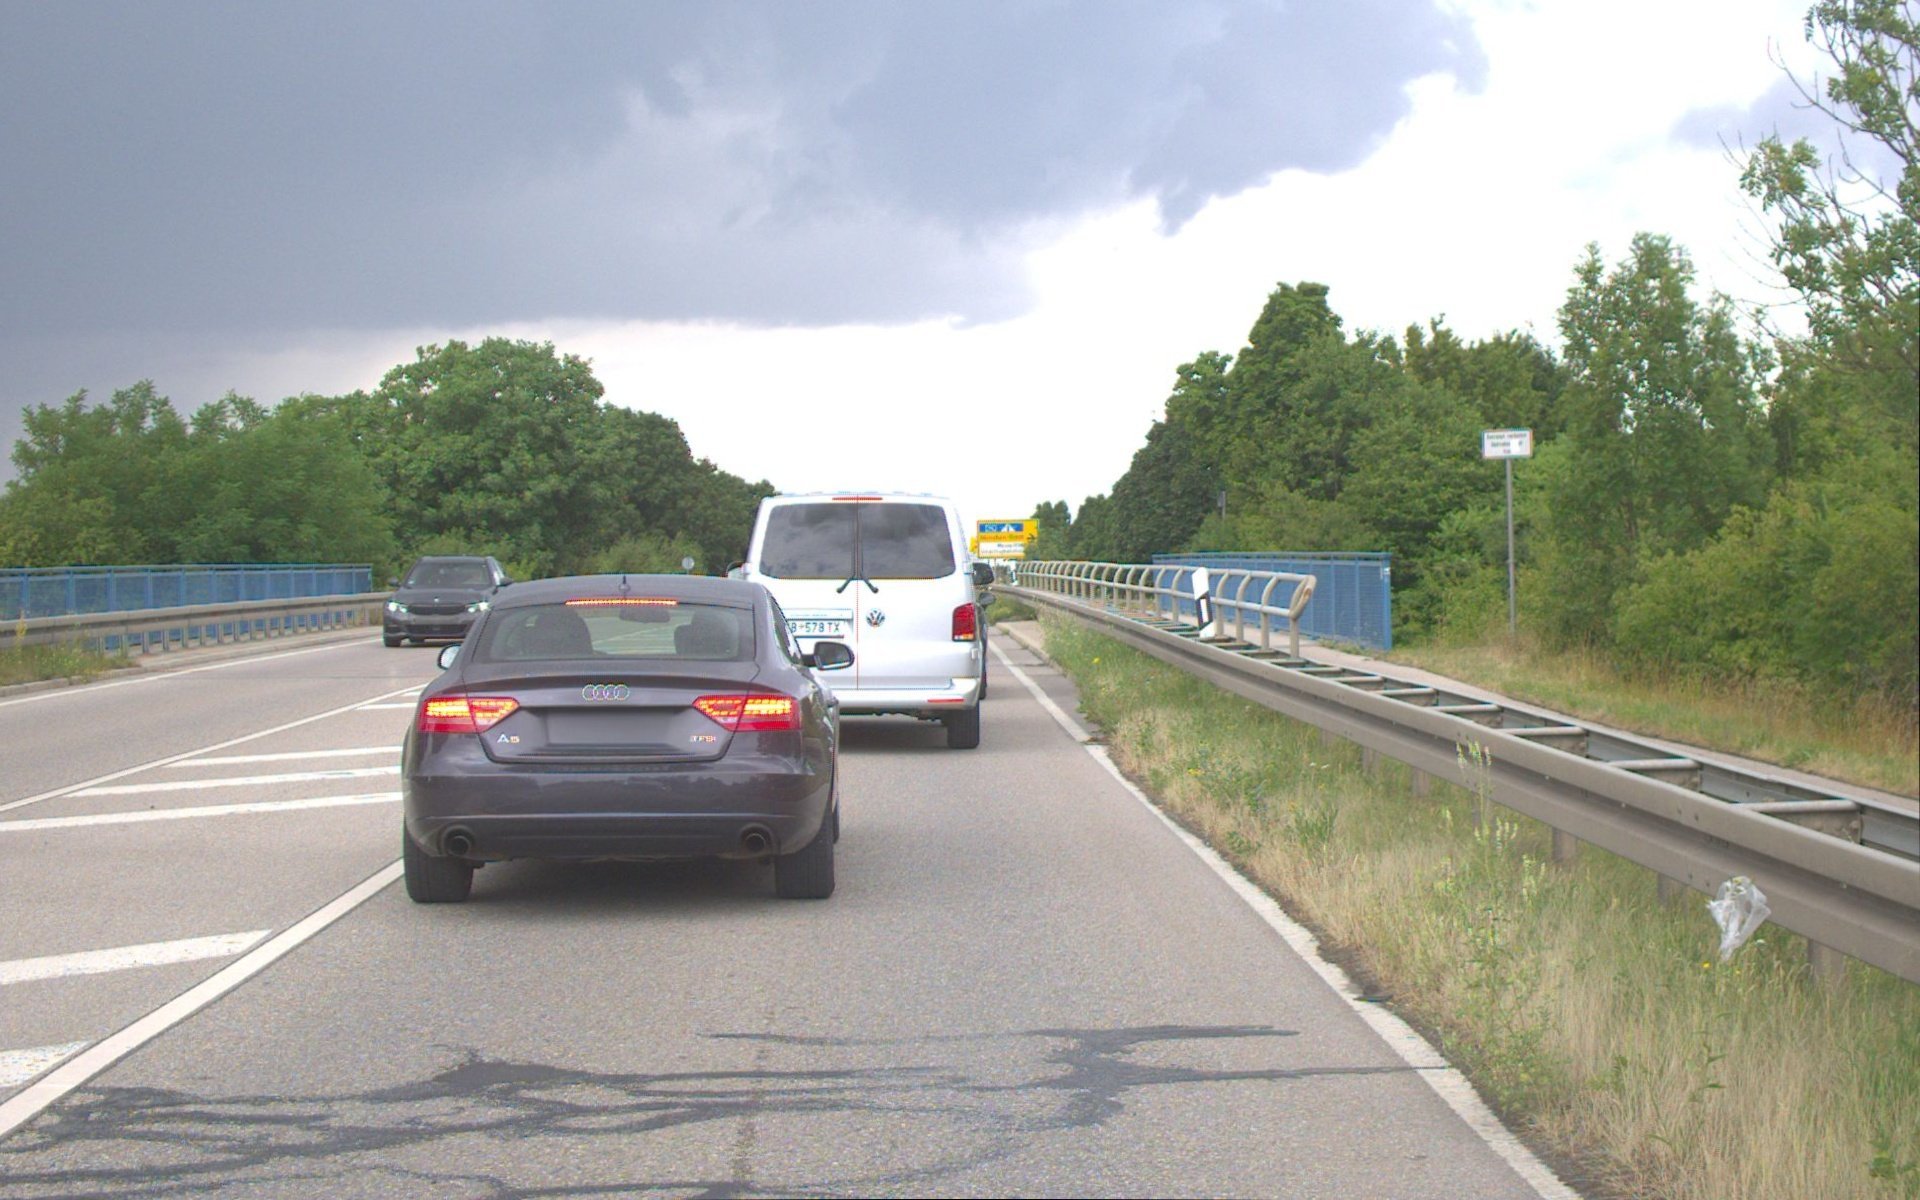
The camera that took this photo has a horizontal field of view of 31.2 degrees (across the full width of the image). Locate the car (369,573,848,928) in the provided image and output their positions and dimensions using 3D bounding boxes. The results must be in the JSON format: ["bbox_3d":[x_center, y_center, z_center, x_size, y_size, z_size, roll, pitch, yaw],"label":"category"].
[{"bbox_3d":[-1.465,0.583,15.713,1.821,1.376,4.072,-1,1,-1],"label":"car"}]

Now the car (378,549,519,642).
[{"bbox_3d":[-8.360,-0.102,56.504,1.799,1.445,4.446,-1,1,-2],"label":"car"}]

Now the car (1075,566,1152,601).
[{"bbox_3d":[8.967,-0.977,200.820,3.994,2.007,1.996,1,0,33],"label":"car"}]

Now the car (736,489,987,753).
[{"bbox_3d":[-0.759,0.133,27.340,1.828,1.929,4.000,-1,1,-1],"label":"car"}]

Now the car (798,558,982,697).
[{"bbox_3d":[-0.684,0.251,36.119,1.821,1.376,4.072,0,1,0],"label":"car"}]
